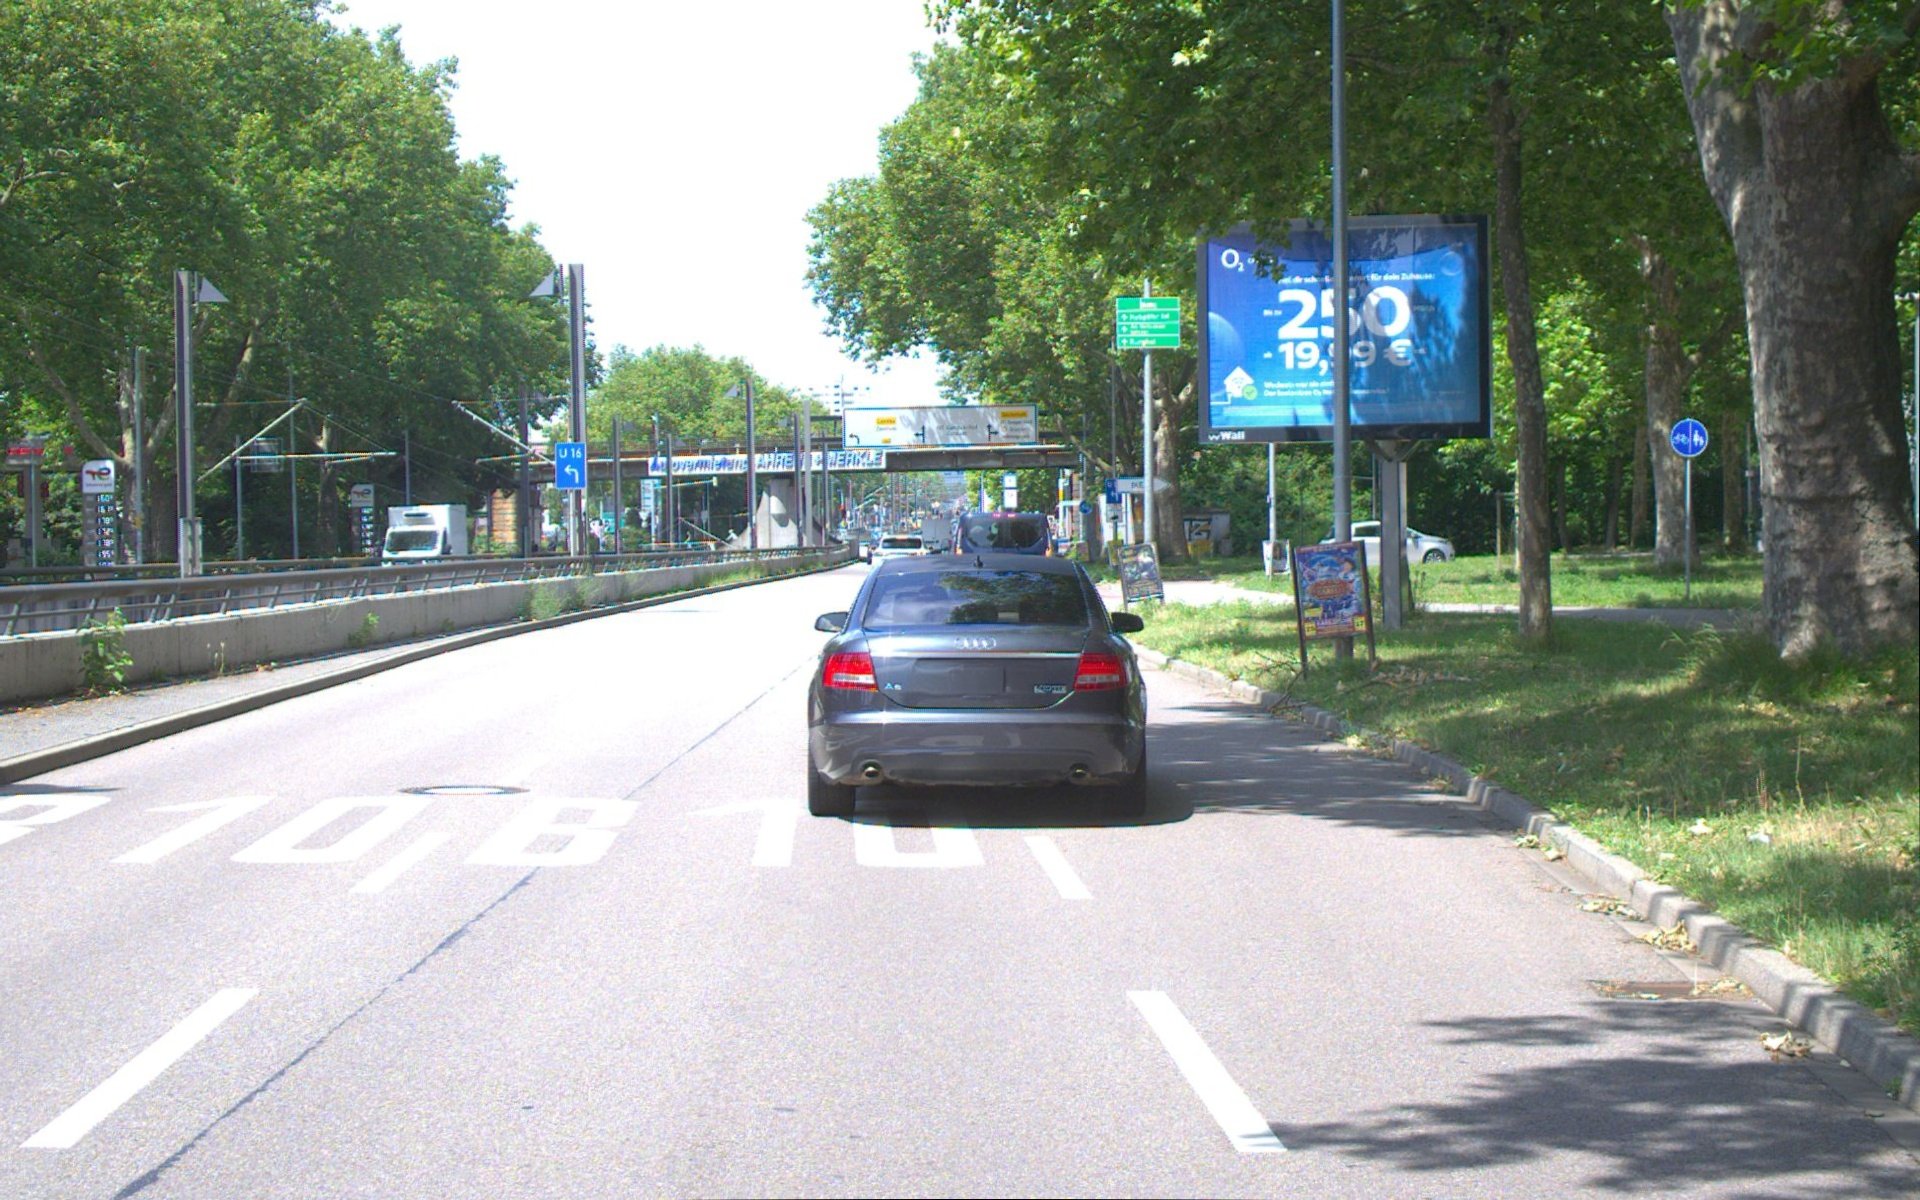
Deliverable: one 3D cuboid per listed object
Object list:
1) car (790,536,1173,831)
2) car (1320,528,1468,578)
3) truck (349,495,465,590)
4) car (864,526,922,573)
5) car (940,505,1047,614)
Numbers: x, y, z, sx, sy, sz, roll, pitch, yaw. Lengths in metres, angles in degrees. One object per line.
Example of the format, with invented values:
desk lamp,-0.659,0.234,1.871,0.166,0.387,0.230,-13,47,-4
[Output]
car,0.016,0.388,19.443,1.842,1.479,4.001,-1,1,-4
car,12.714,-1.385,100.868,3.986,1.405,1.800,-1,1,-7
truck,-18.259,-1.896,113.983,2.990,3.010,8.001,-1,1,-3
car,-2.170,-1.638,111.371,1.845,1.459,4.000,-1,1,-1
car,0.668,-0.777,64.467,1.848,1.953,4.144,1,1,2
